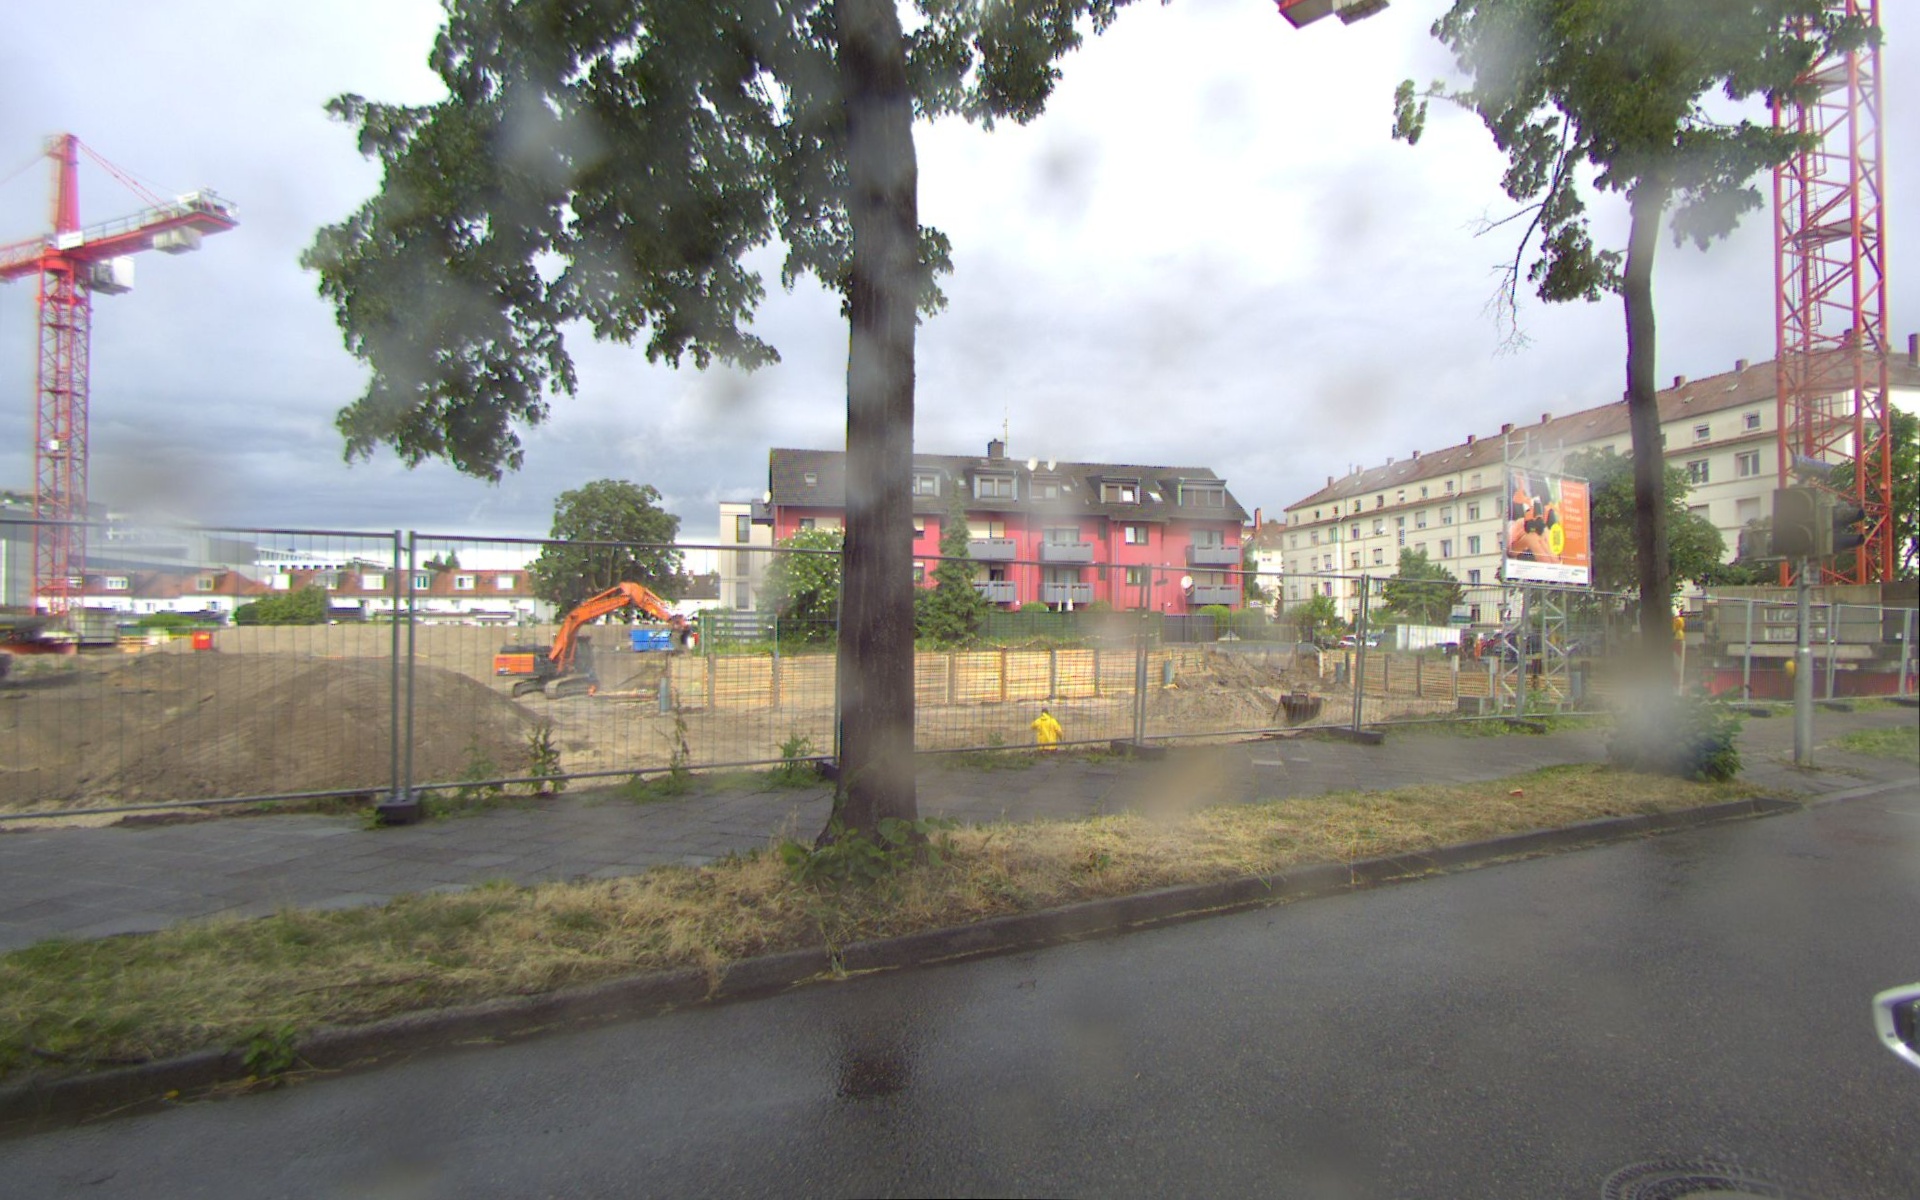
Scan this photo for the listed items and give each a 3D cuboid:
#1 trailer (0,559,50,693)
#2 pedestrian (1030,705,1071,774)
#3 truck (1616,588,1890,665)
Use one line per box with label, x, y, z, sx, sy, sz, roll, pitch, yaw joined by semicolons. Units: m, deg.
trailer;-30.195;0.410;22.484;14.145;3.276;2.945;2;1;-31
pedestrian;2.305;3.560;25.721;0.837;1.706;0.585;1;-5;-25
truck;36.668;1.344;47.213;3.728;3.226;9.818;0;-3;-15
